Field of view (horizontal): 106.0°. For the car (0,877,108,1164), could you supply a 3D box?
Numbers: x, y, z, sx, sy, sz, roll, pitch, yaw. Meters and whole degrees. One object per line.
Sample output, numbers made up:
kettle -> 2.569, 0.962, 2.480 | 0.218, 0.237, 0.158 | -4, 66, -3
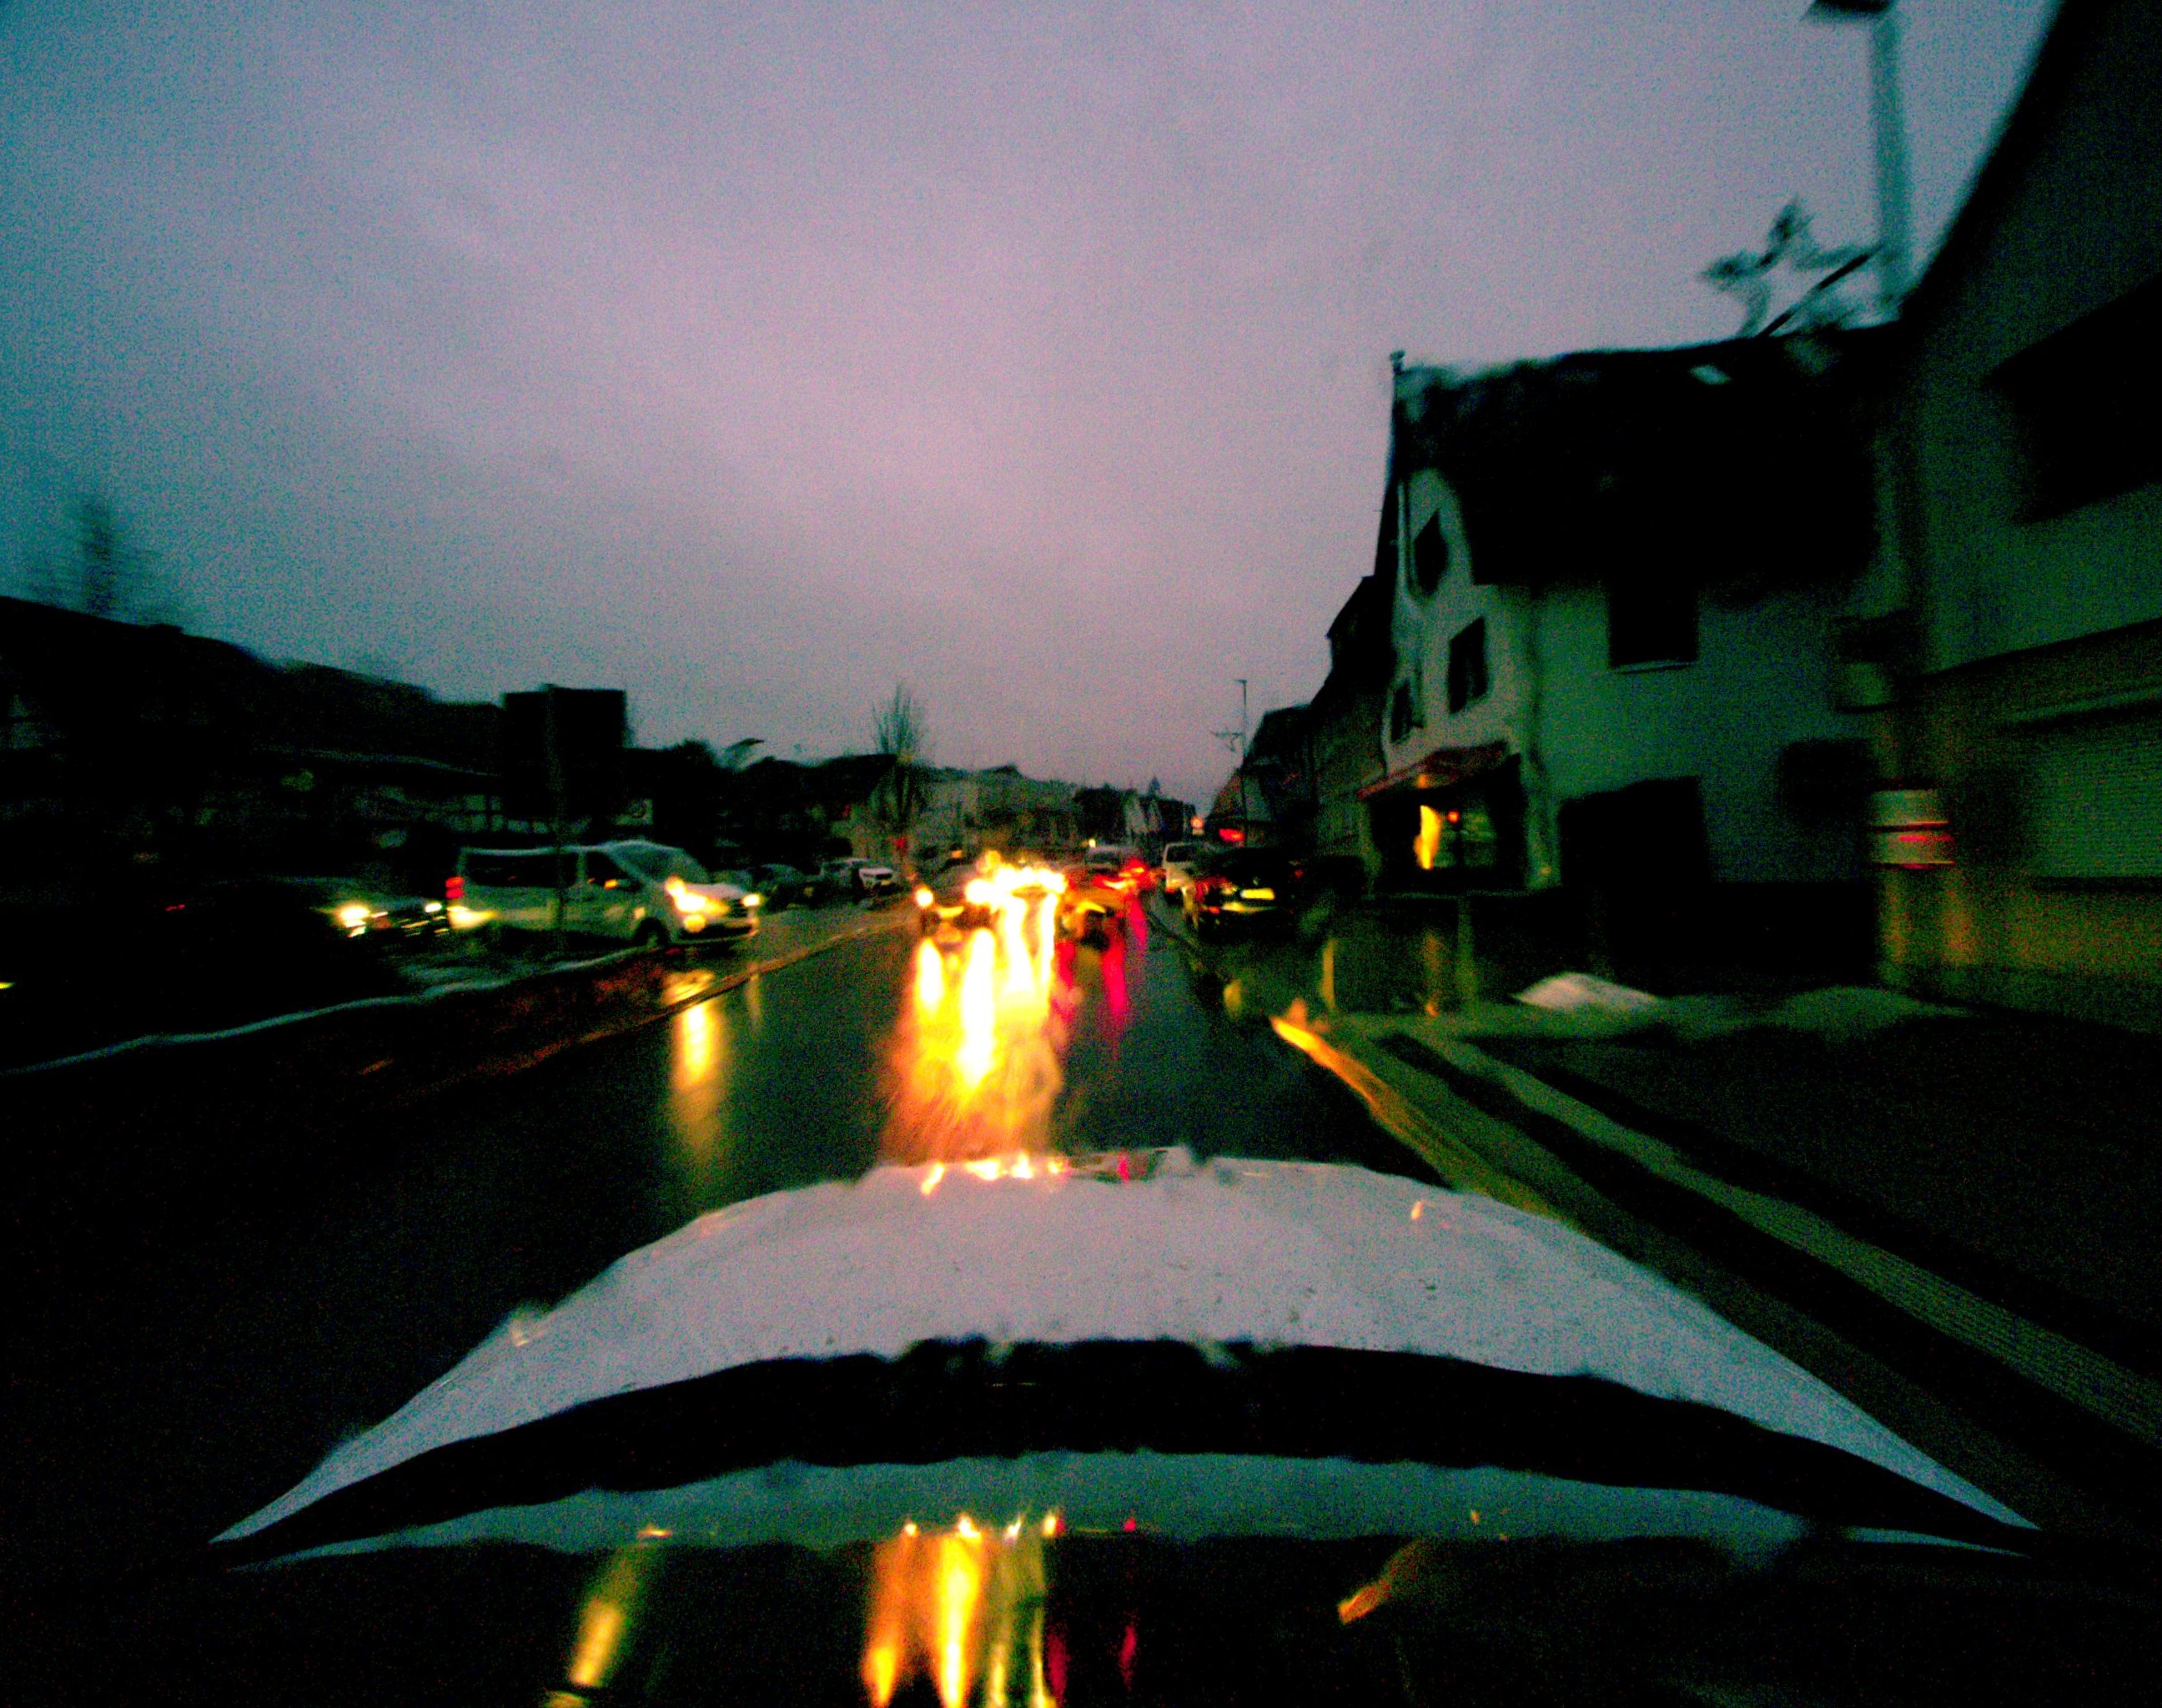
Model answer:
car -> -9.509, 1.314, 5.338 | 4.014, 1.951, 1.750 | -4, 1, 1

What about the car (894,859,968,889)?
car -> -8.211, 1.088, 44.343 | 3.950, 1.530, 2.012 | -2, 0, 45

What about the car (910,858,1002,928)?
car -> -3.114, 0.931, 21.002 | 1.614, 1.480, 3.839 | -4, 0, 1

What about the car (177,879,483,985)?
car -> -15.080, 1.542, 16.459 | 4.724, 1.635, 2.006 | -4, 1, 11

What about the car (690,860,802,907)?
car -> -11.695, 1.044, 28.375 | 3.882, 1.459, 1.774 | -3, 0, 37

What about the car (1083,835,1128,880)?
car -> 1.575, 0.181, 49.356 | 2.184, 2.490, 6.153 | -2, 0, 6

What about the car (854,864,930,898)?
car -> -9.881, 1.412, 42.402 | 4.060, 1.582, 1.731 | -4, -1, 41

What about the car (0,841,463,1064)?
car -> -8.488, 0.826, 7.505 | 3.972, 1.684, 2.001 | -3, 0, 1

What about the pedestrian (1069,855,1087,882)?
pedestrian -> -0.223, 1.006, 57.670 | 0.746, 1.866, 1.067 | -3, -1, 32

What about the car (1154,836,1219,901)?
car -> 3.563, 0.443, 28.246 | 1.963, 1.960, 4.859 | -3, 0, 5

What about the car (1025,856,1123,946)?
car -> -0.094, 0.998, 19.563 | 1.986, 1.795, 4.649 | -3, 0, 1

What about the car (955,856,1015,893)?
car -> -4.501, 0.930, 38.732 | 1.895, 1.533, 4.262 | -2, 0, 5

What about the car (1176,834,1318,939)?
car -> 3.050, 0.538, 15.900 | 1.966, 1.661, 4.463 | -3, 0, 2

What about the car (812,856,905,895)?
car -> -10.652, 1.056, 38.777 | 4.596, 1.654, 2.000 | -3, -1, 40

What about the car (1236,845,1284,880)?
car -> 8.866, 0.391, 40.566 | 1.726, 1.561, 3.667 | -3, 0, 3

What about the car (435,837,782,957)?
car -> -8.653, 0.742, 15.001 | 5.718, 1.946, 1.999 | -1, 1, 15

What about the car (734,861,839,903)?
car -> -11.318, 1.083, 31.249 | 4.021, 1.459, 1.769 | -3, -1, 36

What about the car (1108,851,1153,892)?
car -> 2.129, 0.711, 35.400 | 1.790, 1.662, 4.003 | -1, 0, 3

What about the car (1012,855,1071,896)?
car -> -1.622, 0.873, 35.067 | 1.817, 1.518, 4.556 | -3, 0, 6
